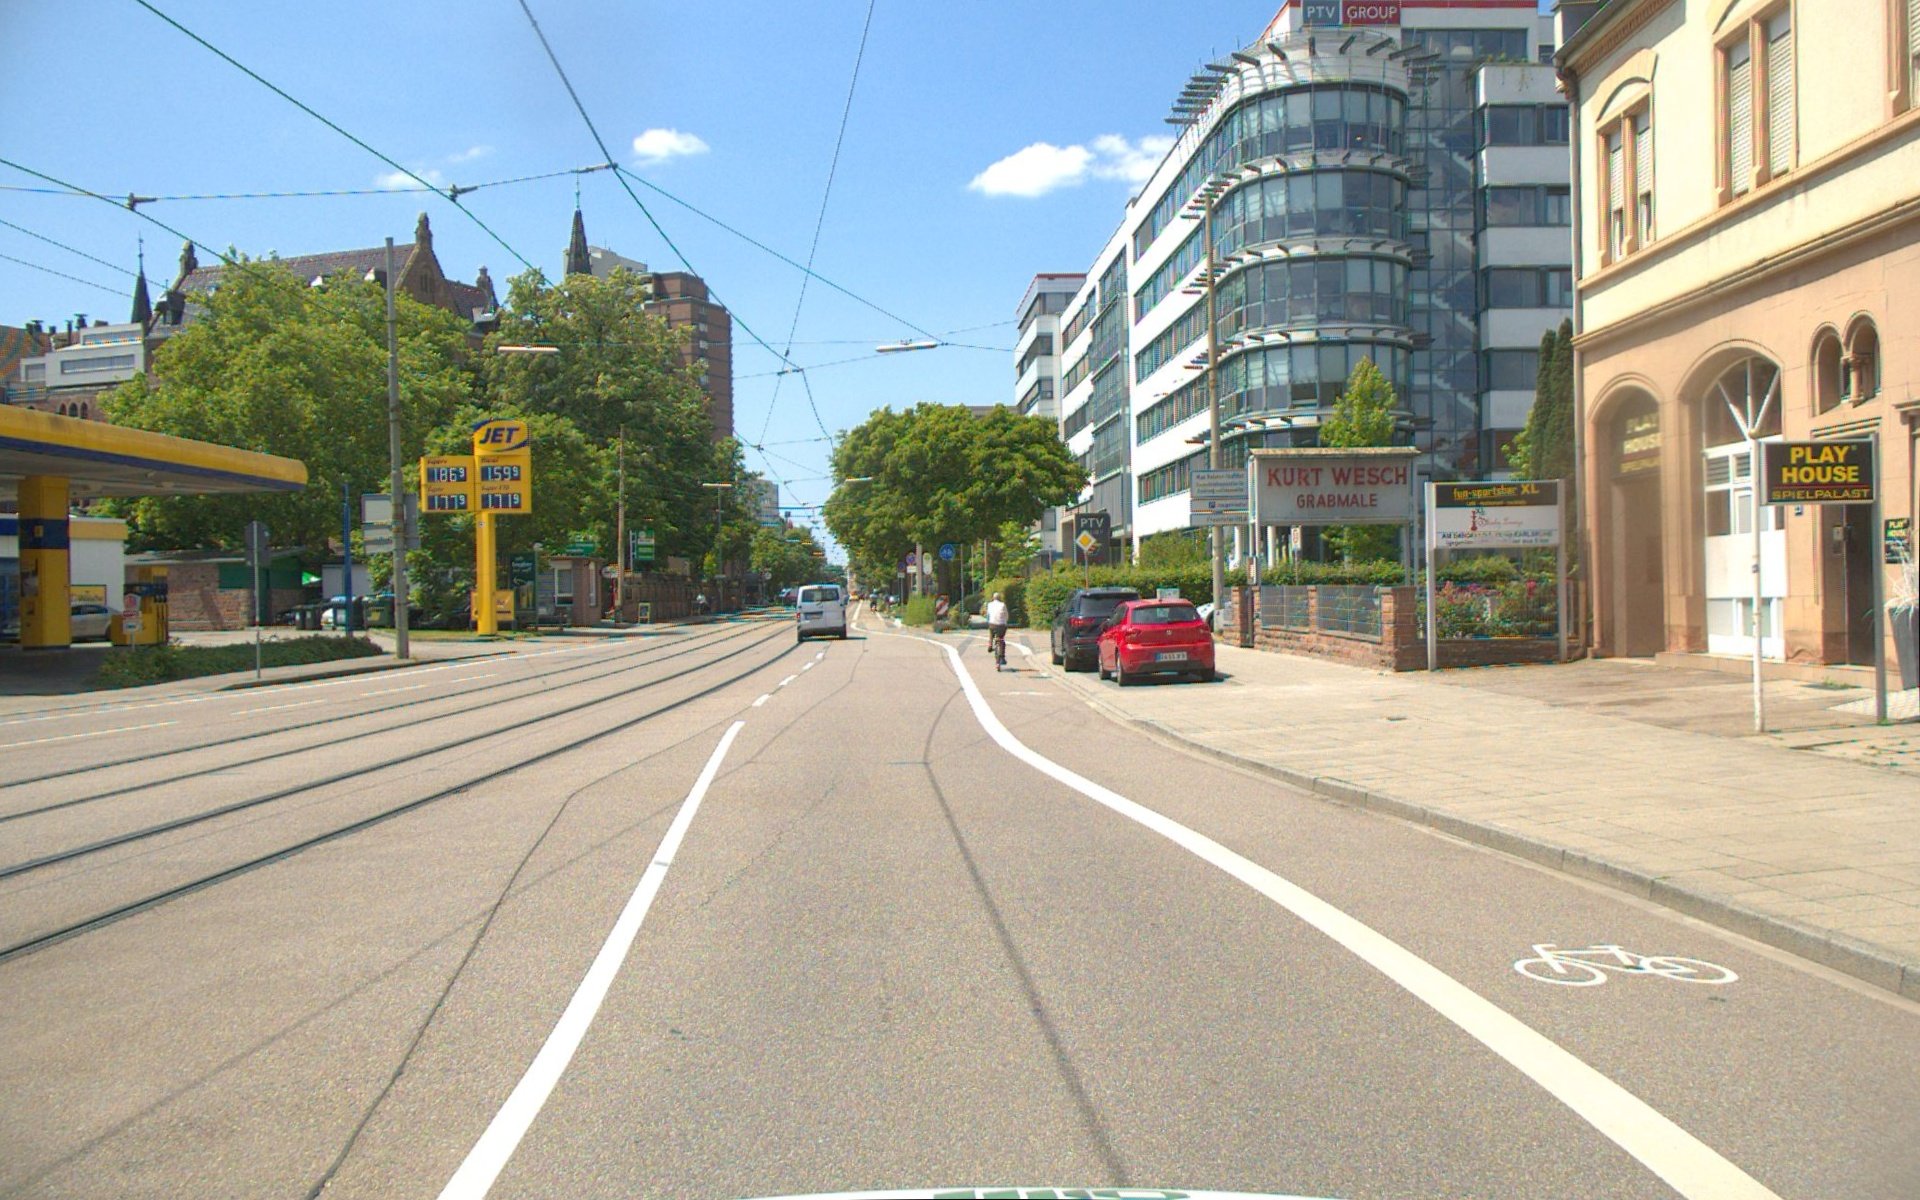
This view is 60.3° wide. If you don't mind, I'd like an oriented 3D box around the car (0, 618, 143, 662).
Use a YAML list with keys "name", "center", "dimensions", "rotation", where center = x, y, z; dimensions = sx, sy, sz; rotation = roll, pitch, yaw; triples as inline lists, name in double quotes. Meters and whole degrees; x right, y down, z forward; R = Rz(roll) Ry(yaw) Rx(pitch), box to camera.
- name: "car"
  center: [-32.507, 1.440, 60.309]
  dimensions: [1.797, 1.389, 5.011]
  rotation: [-1, 0, 20]

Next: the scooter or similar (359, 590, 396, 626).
- name: "scooter or similar"
  center: [-24.864, 0.356, 70.621]
  dimensions: [1.148, 1.492, 1.059]
  rotation: [-1, 0, 2]

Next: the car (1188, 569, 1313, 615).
- name: "car"
  center: [9.384, -0.275, 53.568]
  dimensions: [3.723, 1.297, 1.555]
  rotation: [-3, 1, -3]

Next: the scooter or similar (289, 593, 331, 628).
- name: "scooter or similar"
  center: [-28.280, 0.471, 71.973]
  dimensions: [1.286, 1.492, 1.060]
  rotation: [-1, 0, 8]

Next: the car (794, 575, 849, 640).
- name: "car"
  center: [-4.747, 0.222, 57.008]
  dimensions: [1.718, 2.048, 3.998]
  rotation: [-2, 1, -4]

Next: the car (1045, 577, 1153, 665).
- name: "car"
  center: [2.956, 0.397, 36.075]
  dimensions: [1.825, 1.716, 5.000]
  rotation: [-2, 1, -1]

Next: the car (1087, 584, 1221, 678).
- name: "car"
  center: [3.416, 0.502, 29.834]
  dimensions: [1.678, 1.478, 4.070]
  rotation: [-3, 1, -3]

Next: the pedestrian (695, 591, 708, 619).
- name: "pedestrian"
  center: [-19.321, 0.344, 123.540]
  dimensions: [0.847, 2.049, 0.645]
  rotation: [-3, -1, -6]

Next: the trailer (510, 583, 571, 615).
- name: "trailer"
  center: [-20.580, -0.056, 81.267]
  dimensions: [2.673, 1.553, 1.329]
  rotation: [0, -1, -3]

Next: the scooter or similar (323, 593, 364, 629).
- name: "scooter or similar"
  center: [-26.554, 0.462, 71.227]
  dimensions: [1.286, 1.492, 1.060]
  rotation: [-1, 0, 8]

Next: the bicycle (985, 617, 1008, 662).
- name: "bicycle"
  center: [0.786, 0.842, 35.992]
  dimensions: [0.456, 0.903, 2.048]
  rotation: [-1, 1, 0]

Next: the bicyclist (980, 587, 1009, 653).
- name: "bicyclist"
  center: [0.749, 0.428, 35.983]
  dimensions: [0.579, 1.421, 0.841]
  rotation: [-1, 1, 0]
